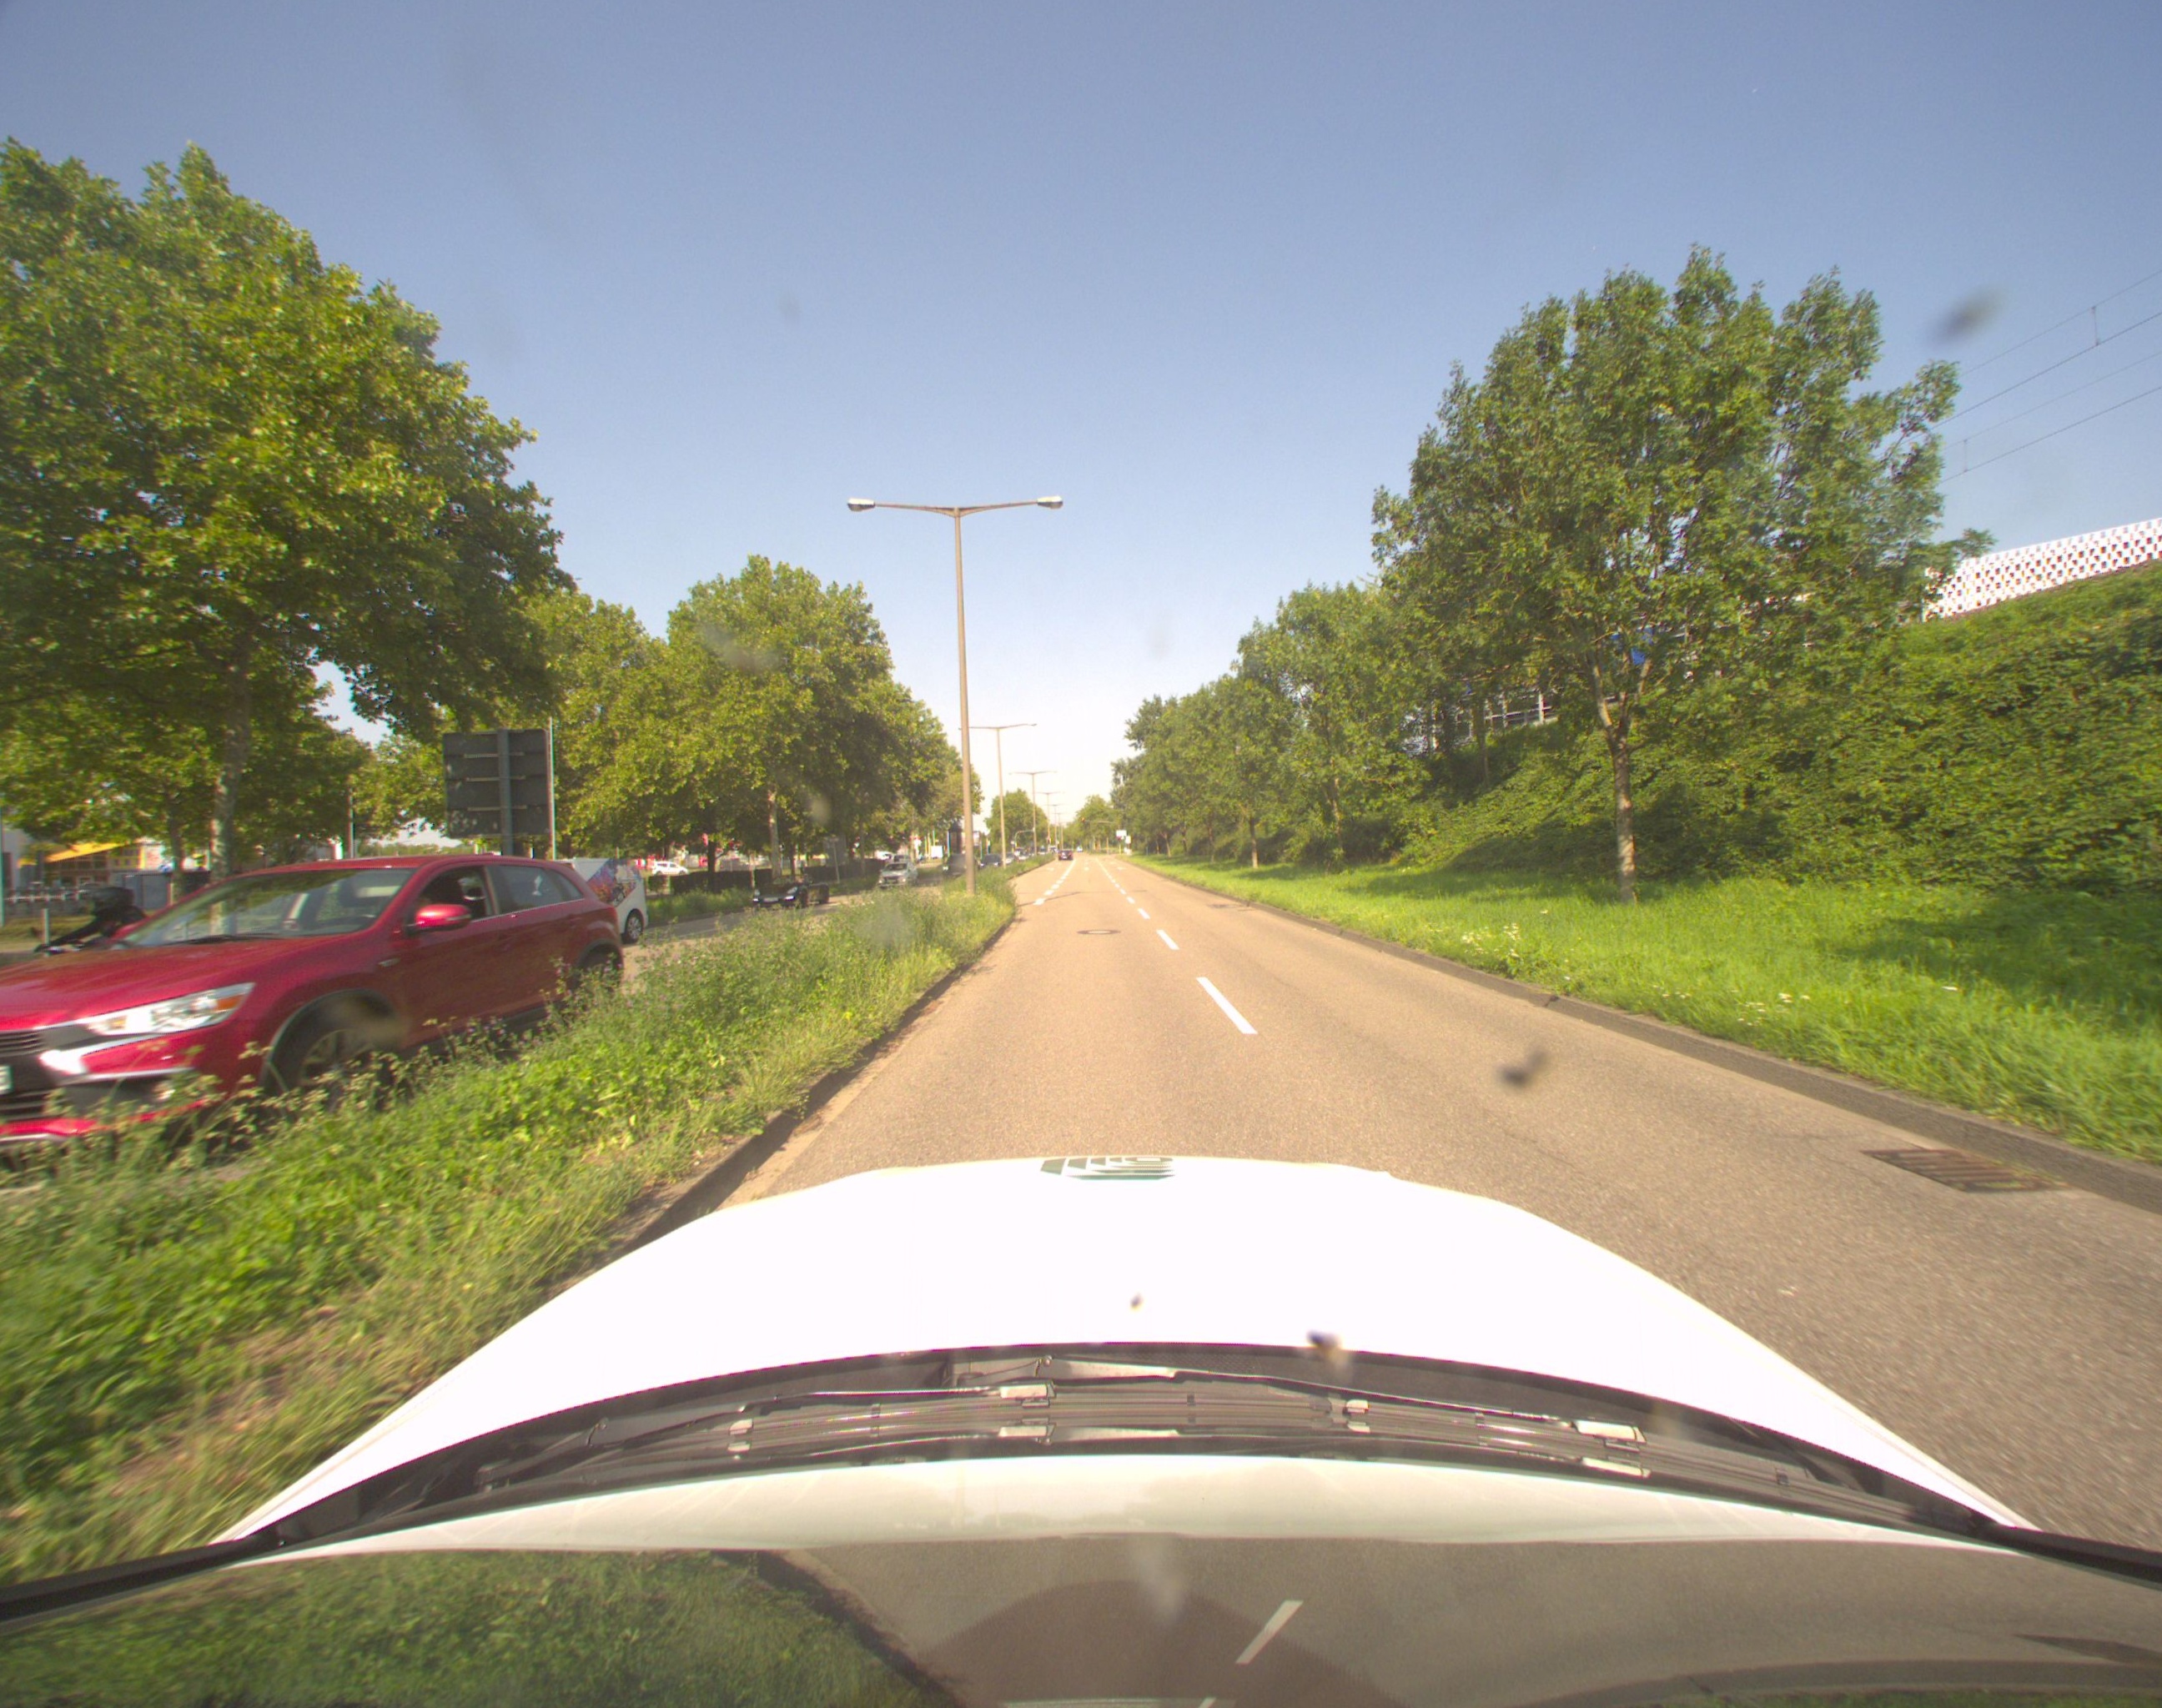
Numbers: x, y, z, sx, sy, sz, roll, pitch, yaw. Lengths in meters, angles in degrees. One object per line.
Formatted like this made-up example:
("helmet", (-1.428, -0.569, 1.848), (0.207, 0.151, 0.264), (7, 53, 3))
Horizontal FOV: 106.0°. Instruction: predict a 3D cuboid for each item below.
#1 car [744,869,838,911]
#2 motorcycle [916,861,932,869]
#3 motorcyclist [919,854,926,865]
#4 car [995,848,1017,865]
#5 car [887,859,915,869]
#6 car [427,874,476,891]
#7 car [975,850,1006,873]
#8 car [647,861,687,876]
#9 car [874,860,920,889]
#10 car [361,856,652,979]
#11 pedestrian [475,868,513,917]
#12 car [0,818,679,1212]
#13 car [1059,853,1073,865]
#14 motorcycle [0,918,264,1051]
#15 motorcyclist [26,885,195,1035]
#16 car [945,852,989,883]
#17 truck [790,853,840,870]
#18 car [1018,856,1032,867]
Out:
("car", (-10.569, 1.268, 30.001), (1.784, 1.263, 4.097), (-4, 0, 2))
("motorcycle", (-22.312, 1.563, 115.569), (2.085, 1.136, 0.670), (-2, 0, -36))
("motorcyclist", (-22.478, 0.833, 115.467), (0.687, 1.572, 0.676), (-1, 0, -36))
("car", (-7.708, 0.270, 84.297), (1.873, 1.594, 4.108), (-2, 0, 0))
("car", (-25.812, 1.438, 116.892), (3.719, 1.443, 1.450), (-1, 0, -36))
("car", (-66.620, 2.966, 86.270), (4.017, 1.545, 1.820), (-3, 0, -35))
("car", (-7.483, 0.606, 67.865), (1.987, 1.759, 4.307), (-4, 0, 0))
("car", (-49.791, 1.728, 97.927), (4.020, 1.679, 1.849), (-1, 0, -39))
("car", (-10.642, 1.142, 47.313), (1.785, 1.482, 3.998), (-3, 0, -1))
("car", (-10.694, 1.040, 15.791), (1.978, 1.858, 4.969), (-4, 0, 0))
("pedestrian", (-20.649, 1.339, 28.663), (0.615, 1.652, 0.934), (-1, 0, 0))
("car", (-5.077, 0.737, 5.904), (1.947, 1.724, 4.587), (-2, 0, 0))
("car", (-2.036, 0.646, 109.661), (1.686, 1.486, 4.000), (-3, 0, 0))
("motorcycle", (-10.936, 1.389, 9.240), (0.792, 1.107, 2.468), (-1, 0, 1))
("motorcyclist", (-10.944, 1.161, 9.224), (0.775, 1.554, 0.922), (-1, 0, 1))
("car", (-7.147, 0.813, 51.629), (1.987, 1.759, 4.477), (-4, 0, 0))
("truck", (-54.369, 1.524, 166.434), (9.054, 2.957, 3.476), (-3, 0, -36))
("car", (-7.445, 0.972, 108.747), (1.671, 1.486, 3.491), (-1, 0, -1))
